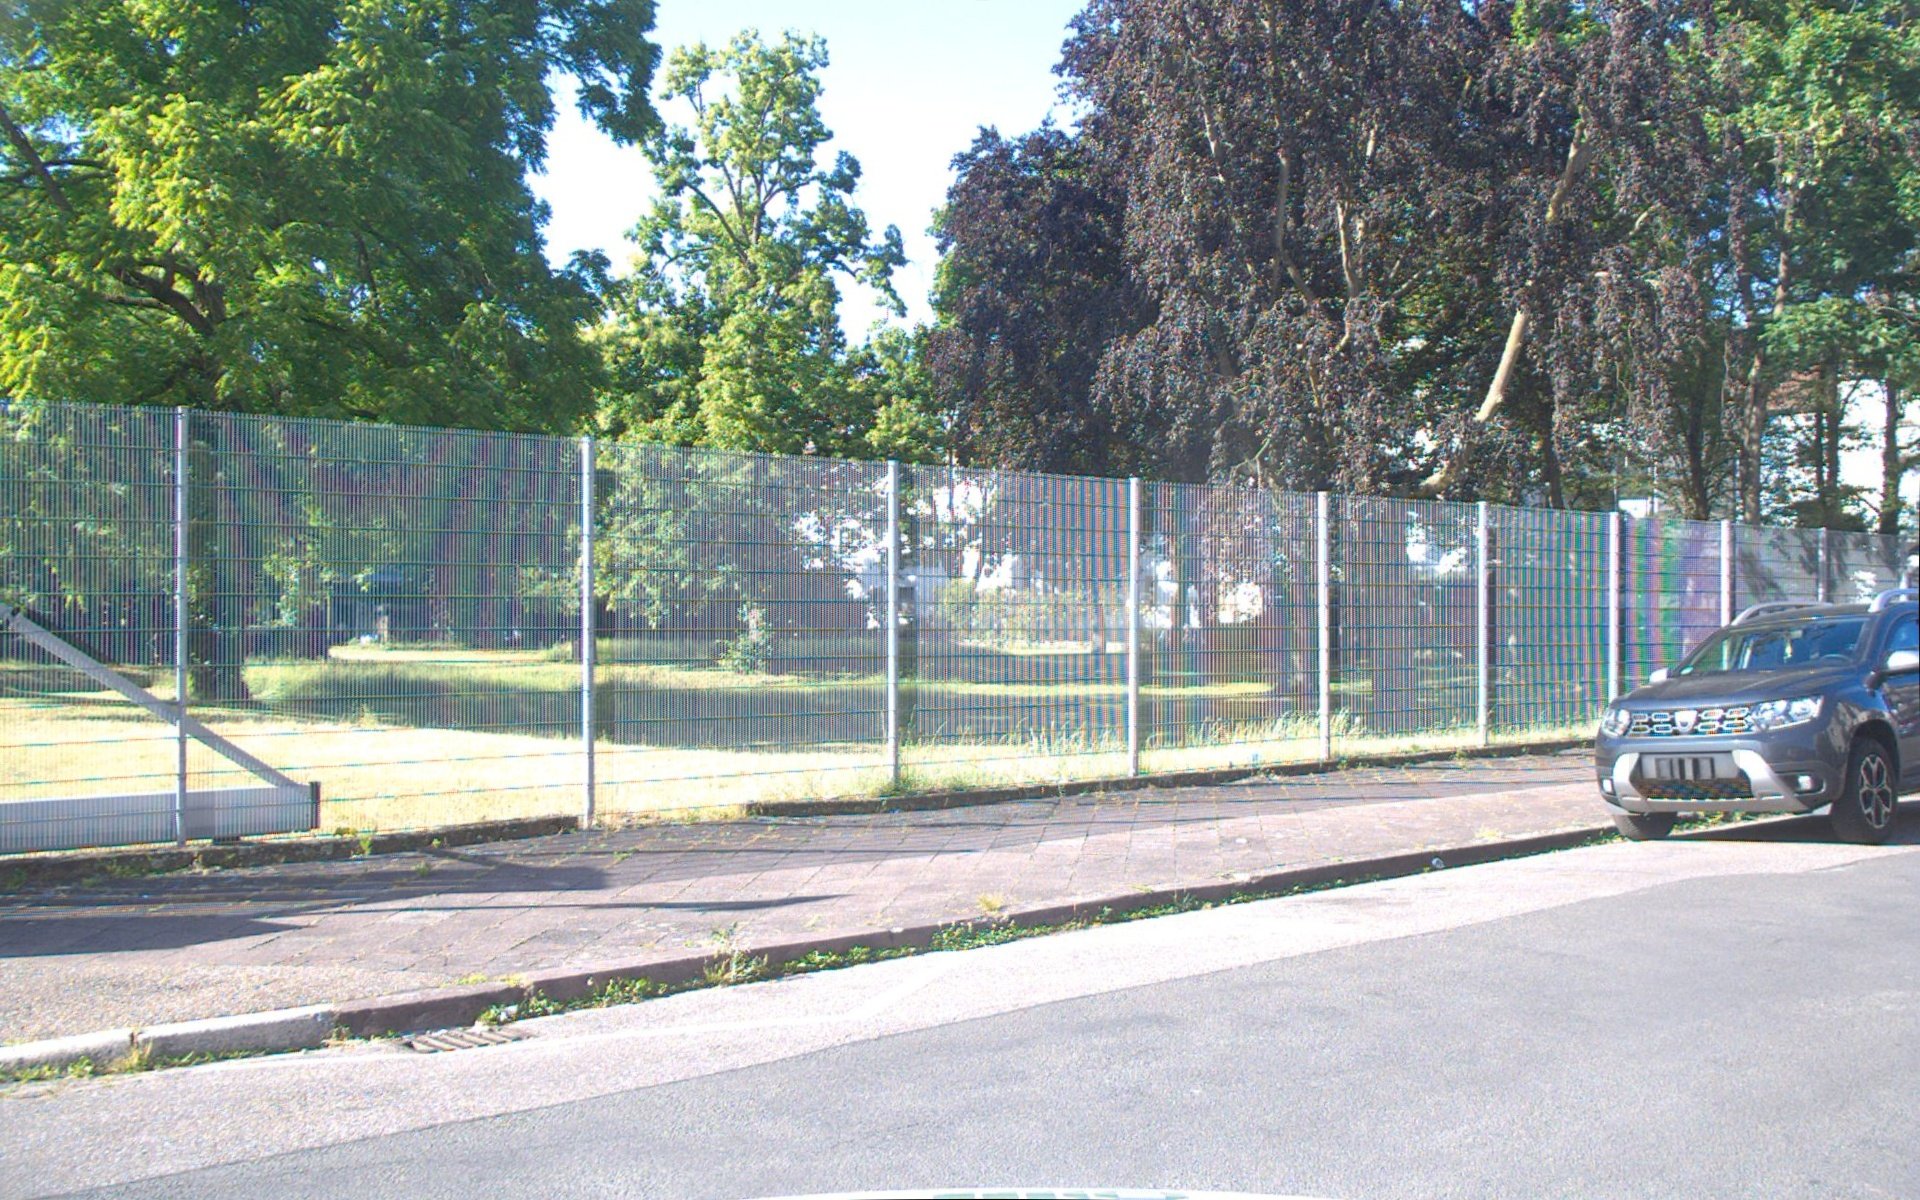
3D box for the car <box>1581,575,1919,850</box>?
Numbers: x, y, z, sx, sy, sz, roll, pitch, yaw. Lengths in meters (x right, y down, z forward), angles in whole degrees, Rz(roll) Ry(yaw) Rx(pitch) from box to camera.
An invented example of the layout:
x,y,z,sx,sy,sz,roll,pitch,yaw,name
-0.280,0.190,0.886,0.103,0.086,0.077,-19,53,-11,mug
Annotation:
x,y,z,sx,sy,sz,roll,pitch,yaw,name
6.482,0.765,12.150,4.123,1.693,1.694,1,-4,-39,car
